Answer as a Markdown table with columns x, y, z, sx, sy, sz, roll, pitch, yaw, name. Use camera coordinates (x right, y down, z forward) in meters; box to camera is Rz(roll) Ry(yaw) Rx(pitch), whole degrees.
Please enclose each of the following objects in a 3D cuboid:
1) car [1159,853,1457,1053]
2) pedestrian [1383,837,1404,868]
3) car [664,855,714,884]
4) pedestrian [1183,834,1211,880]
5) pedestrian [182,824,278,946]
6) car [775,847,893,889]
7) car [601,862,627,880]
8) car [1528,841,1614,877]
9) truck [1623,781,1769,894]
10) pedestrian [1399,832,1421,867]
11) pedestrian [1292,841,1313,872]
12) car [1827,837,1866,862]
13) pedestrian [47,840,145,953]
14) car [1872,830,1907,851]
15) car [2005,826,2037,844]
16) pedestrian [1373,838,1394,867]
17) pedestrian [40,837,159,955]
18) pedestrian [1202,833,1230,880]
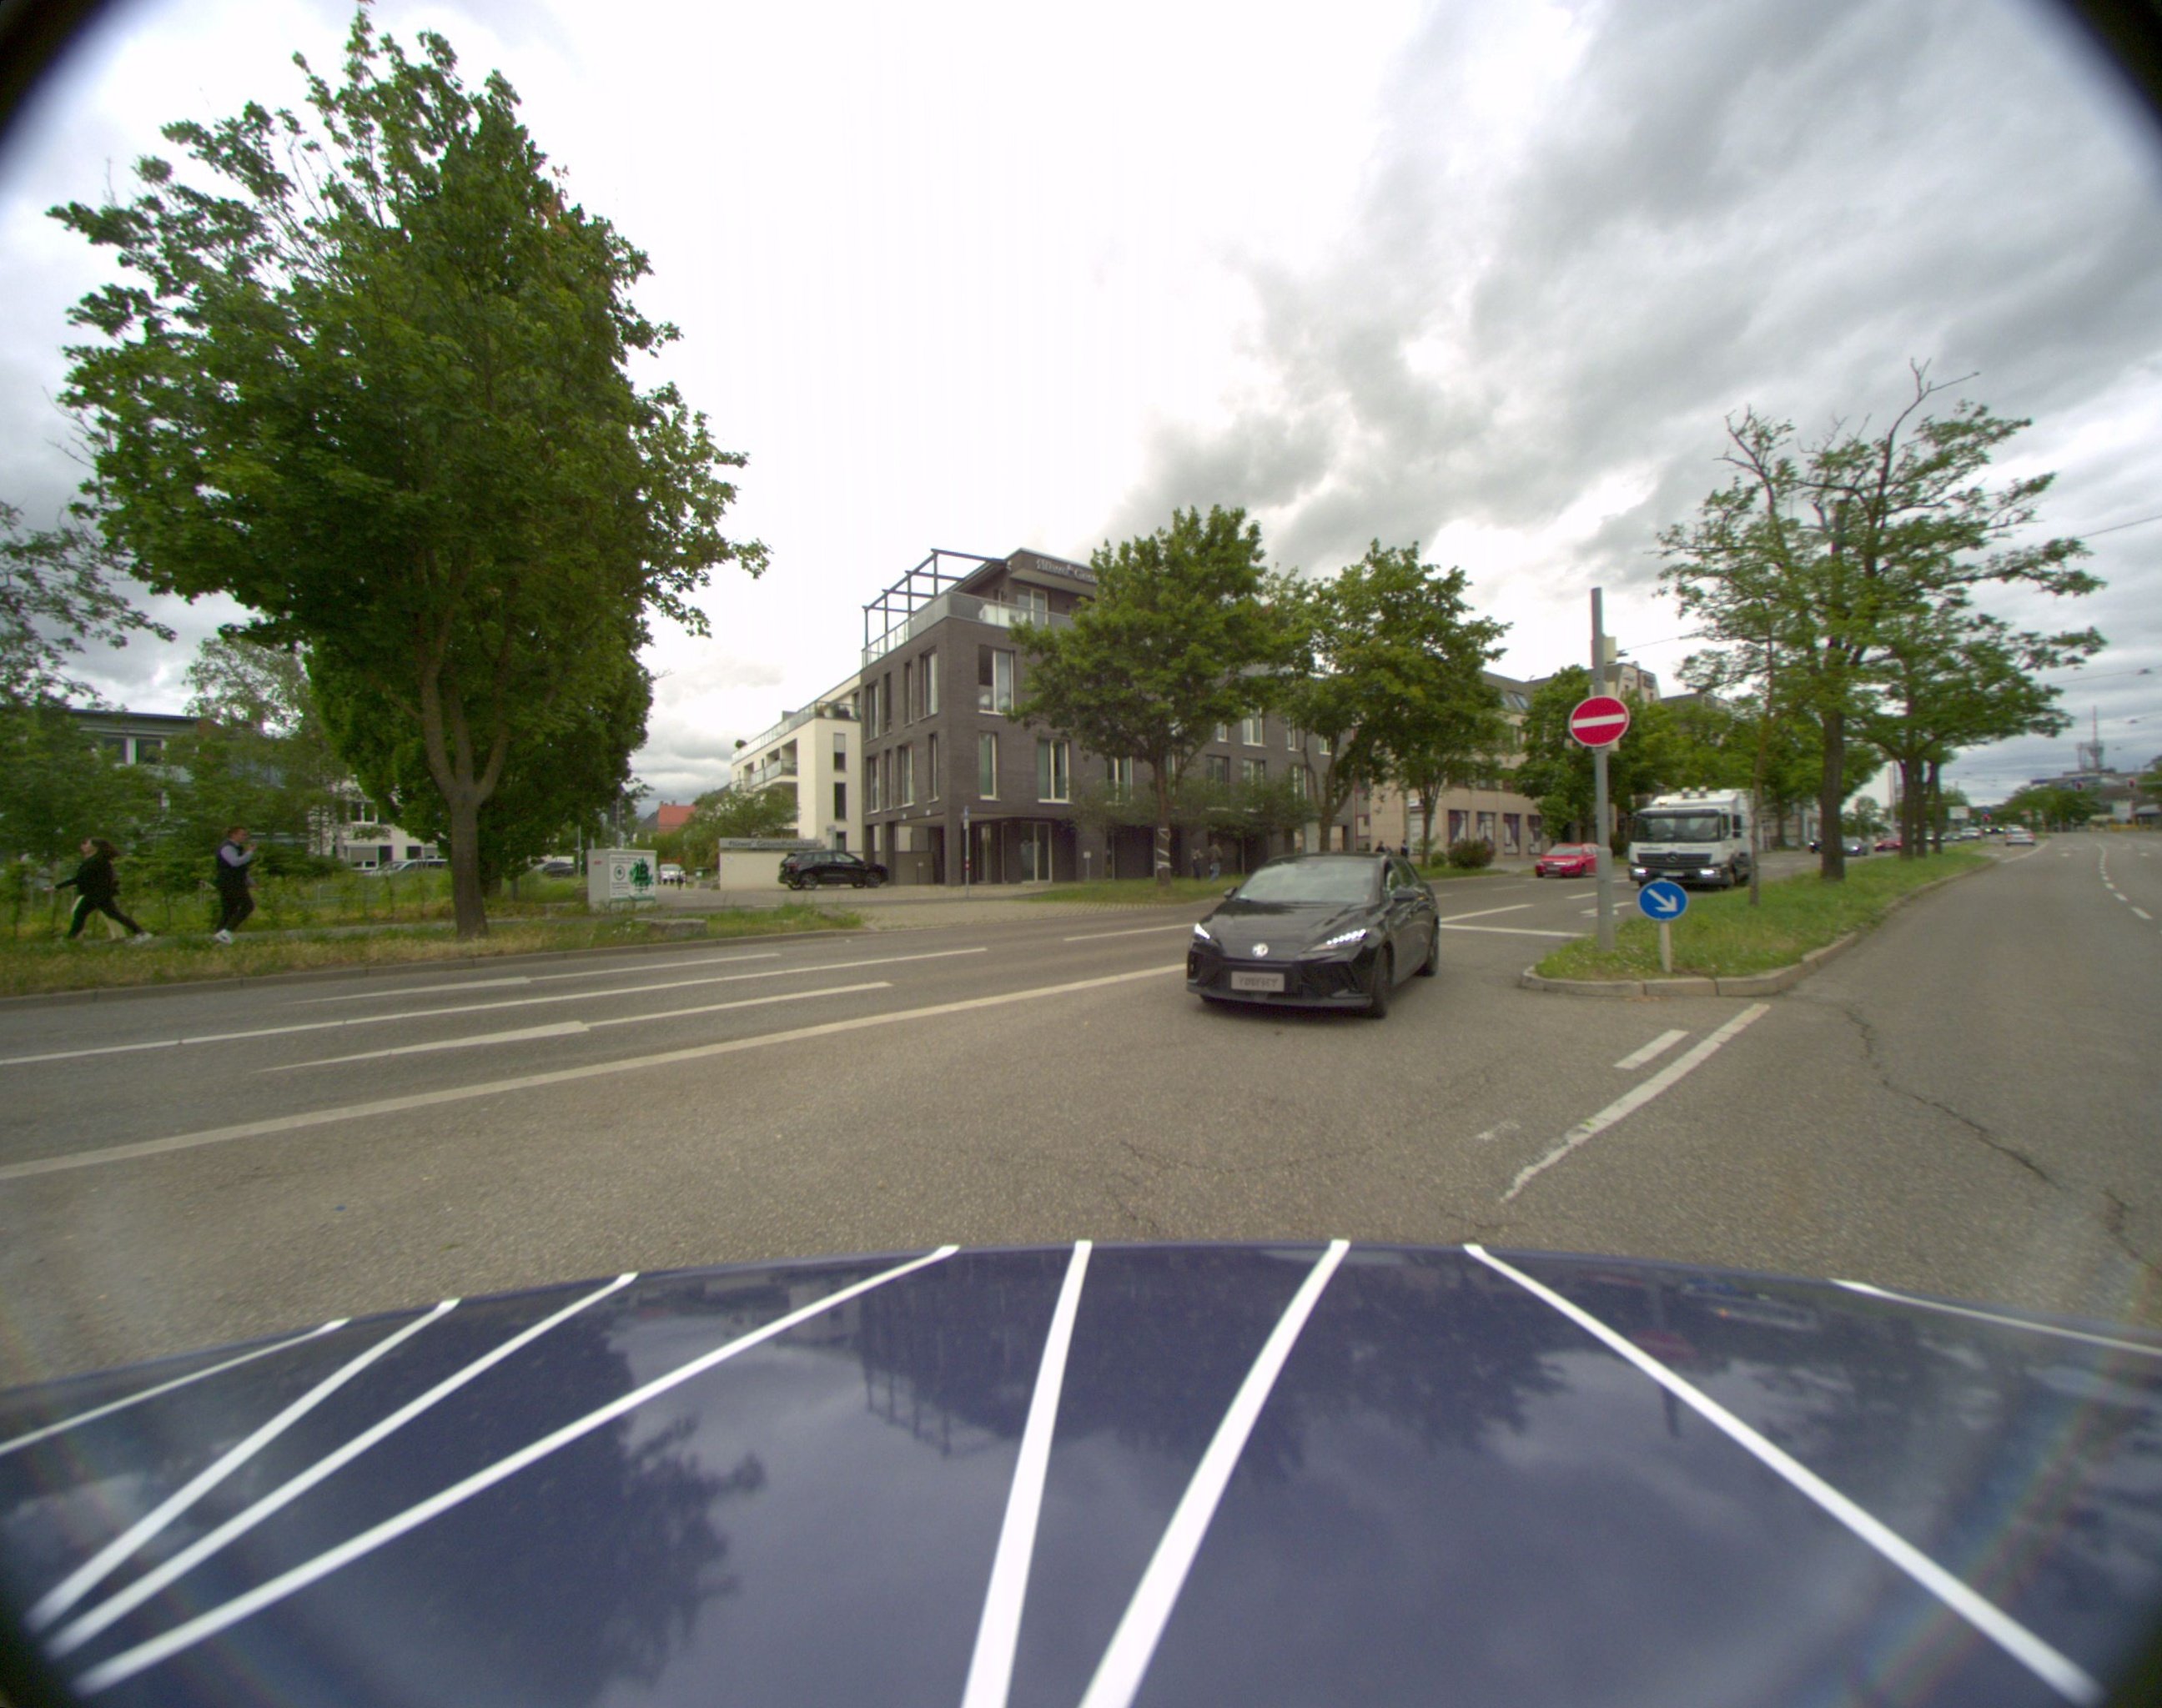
| x | y | z | sx | sy | sz | roll | pitch | yaw | name |
| --- | --- | --- | --- | --- | --- | --- | --- | --- | --- |
| 2.661 | 0.791 | 8.206 | 1.796 | 1.475 | 4.027 | 3 | 3 | 36 | car |
| 14.962 | -0.083 | 36.391 | 0.599 | 1.425 | 0.692 | -4 | 1 | -39 | pedestrian |
| -24.032 | 0.956 | 46.519 | 1.880 | 1.630 | 3.818 | -4 | 1 | -39 | car |
| 4.465 | 0.109 | 29.134 | 0.699 | 1.736 | 0.692 | -4 | 1 | -44 | pedestrian |
| -13.092 | 0.454 | 11.720 | 0.752 | 1.787 | 0.669 | -4 | 1 | -33 | pedestrian |
| -10.084 | 0.557 | 31.117 | 4.133 | 1.591 | 1.995 | 0 | -2 | -37 | car |
| -44.636 | 1.596 | 72.689 | 1.960 | 1.543 | 3.955 | -3 | 1 | -31 | car |
| 21.181 | 0.172 | 32.796 | 4.364 | 1.415 | 1.994 | -2 | 1 | -41 | car |
| 19.800 | -0.553 | 24.331 | 6.479 | 3.177 | 2.430 | -2 | 3 | -41 | truck |
| 15.542 | -0.199 | 35.944 | 0.599 | 1.611 | 0.692 | -4 | 1 | -39 | pedestrian |
| 9.839 | 0.104 | 33.720 | 0.660 | 1.349 | 0.534 | -4 | 1 | -30 | pedestrian |
| 58.223 | -0.338 | 57.768 | 4.612 | 1.685 | 1.995 | -4 | 1 | -44 | car |
| -15.435 | 0.643 | 11.912 | 0.615 | 1.686 | 0.834 | -3 | 1 | 35 | pedestrian |
| 72.824 | -1.209 | 68.436 | 3.677 | 1.734 | 1.888 | -3 | 1 | -39 | car |
| 93.586 | -1.881 | 75.623 | 3.756 | 1.520 | 1.745 | -3 | 1 | -35 | car |
| 14.778 | -0.071 | 37.134 | 0.599 | 1.382 | 0.692 | -4 | 1 | -39 | pedestrian |
| -14.917 | 0.611 | 11.560 | 0.606 | 1.686 | 1.005 | -3 | 1 | 35 | pedestrian |
| 5.095 | 0.085 | 28.657 | 0.650 | 1.736 | 0.692 | -4 | 1 | -44 | pedestrian |
